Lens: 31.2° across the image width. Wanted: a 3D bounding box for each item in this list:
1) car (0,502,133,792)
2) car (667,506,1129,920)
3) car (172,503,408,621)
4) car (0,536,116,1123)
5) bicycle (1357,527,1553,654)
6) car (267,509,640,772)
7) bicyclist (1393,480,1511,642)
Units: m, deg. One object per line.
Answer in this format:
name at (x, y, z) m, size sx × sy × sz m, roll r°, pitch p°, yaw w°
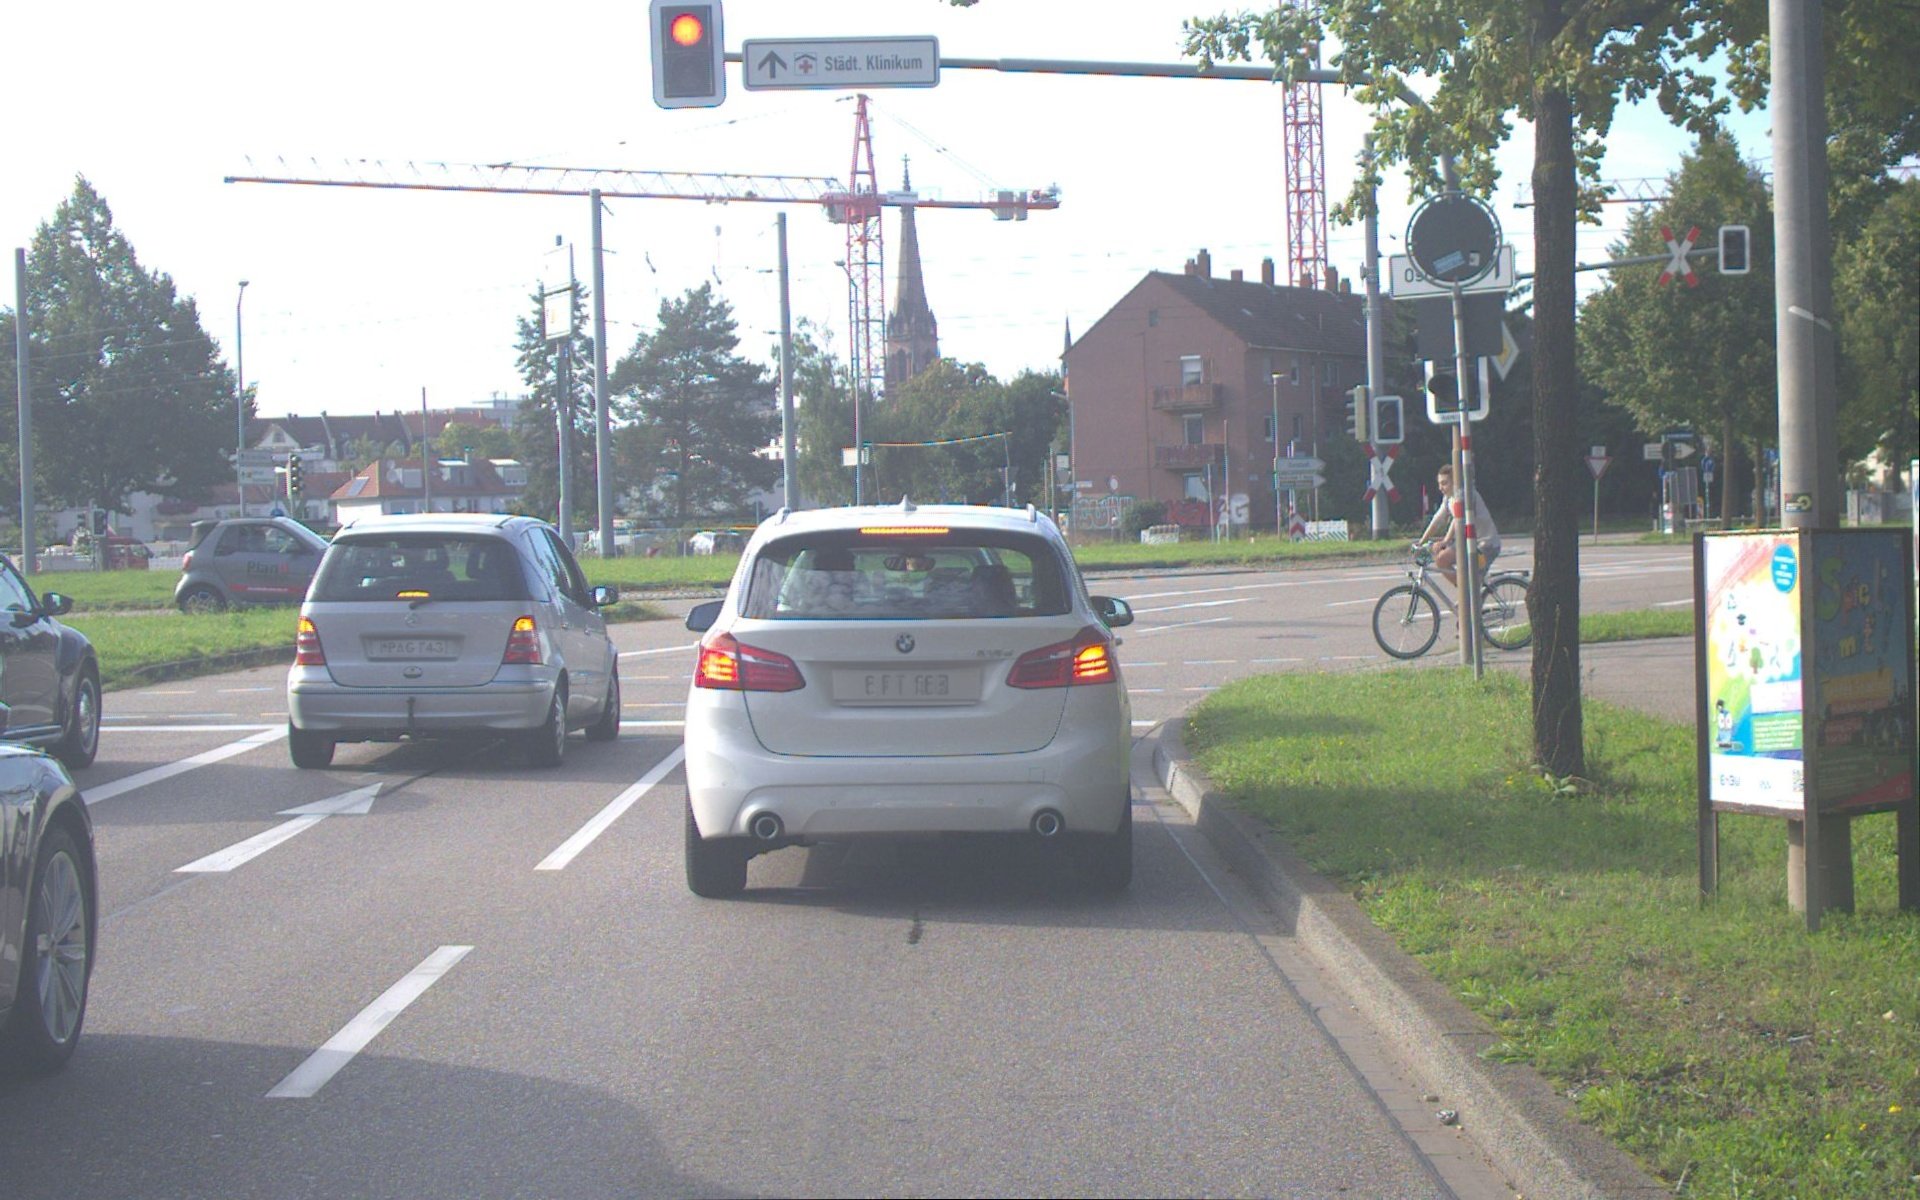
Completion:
car at (-6.080, 0.225, 19.780) m, size 1.721 × 1.559 × 3.878 m, roll 0°, pitch 2°, yaw 0°
car at (-0.260, 0.377, 14.999) m, size 1.729 × 1.553 × 4.058 m, roll 0°, pitch 1°, yaw -1°
car at (-9.680, -0.568, 49.852) m, size 3.187 × 1.568 × 1.575 m, roll -2°, pitch 2°, yaw -6°
car at (-3.351, 0.602, 7.579) m, size 1.890 × 1.478 × 4.613 m, roll 0°, pitch 1°, yaw -1°
bicycle at (4.782, -0.101, 33.223) m, size 1.725 × 1.159 × 0.656 m, roll -2°, pitch 1°, yaw -16°
car at (-3.193, 0.191, 22.420) m, size 1.729 × 1.553 × 4.058 m, roll 0°, pitch 1°, yaw 1°
bicyclist at (4.750, -0.381, 33.213) m, size 0.848 × 1.521 × 0.741 m, roll -2°, pitch 1°, yaw -17°
